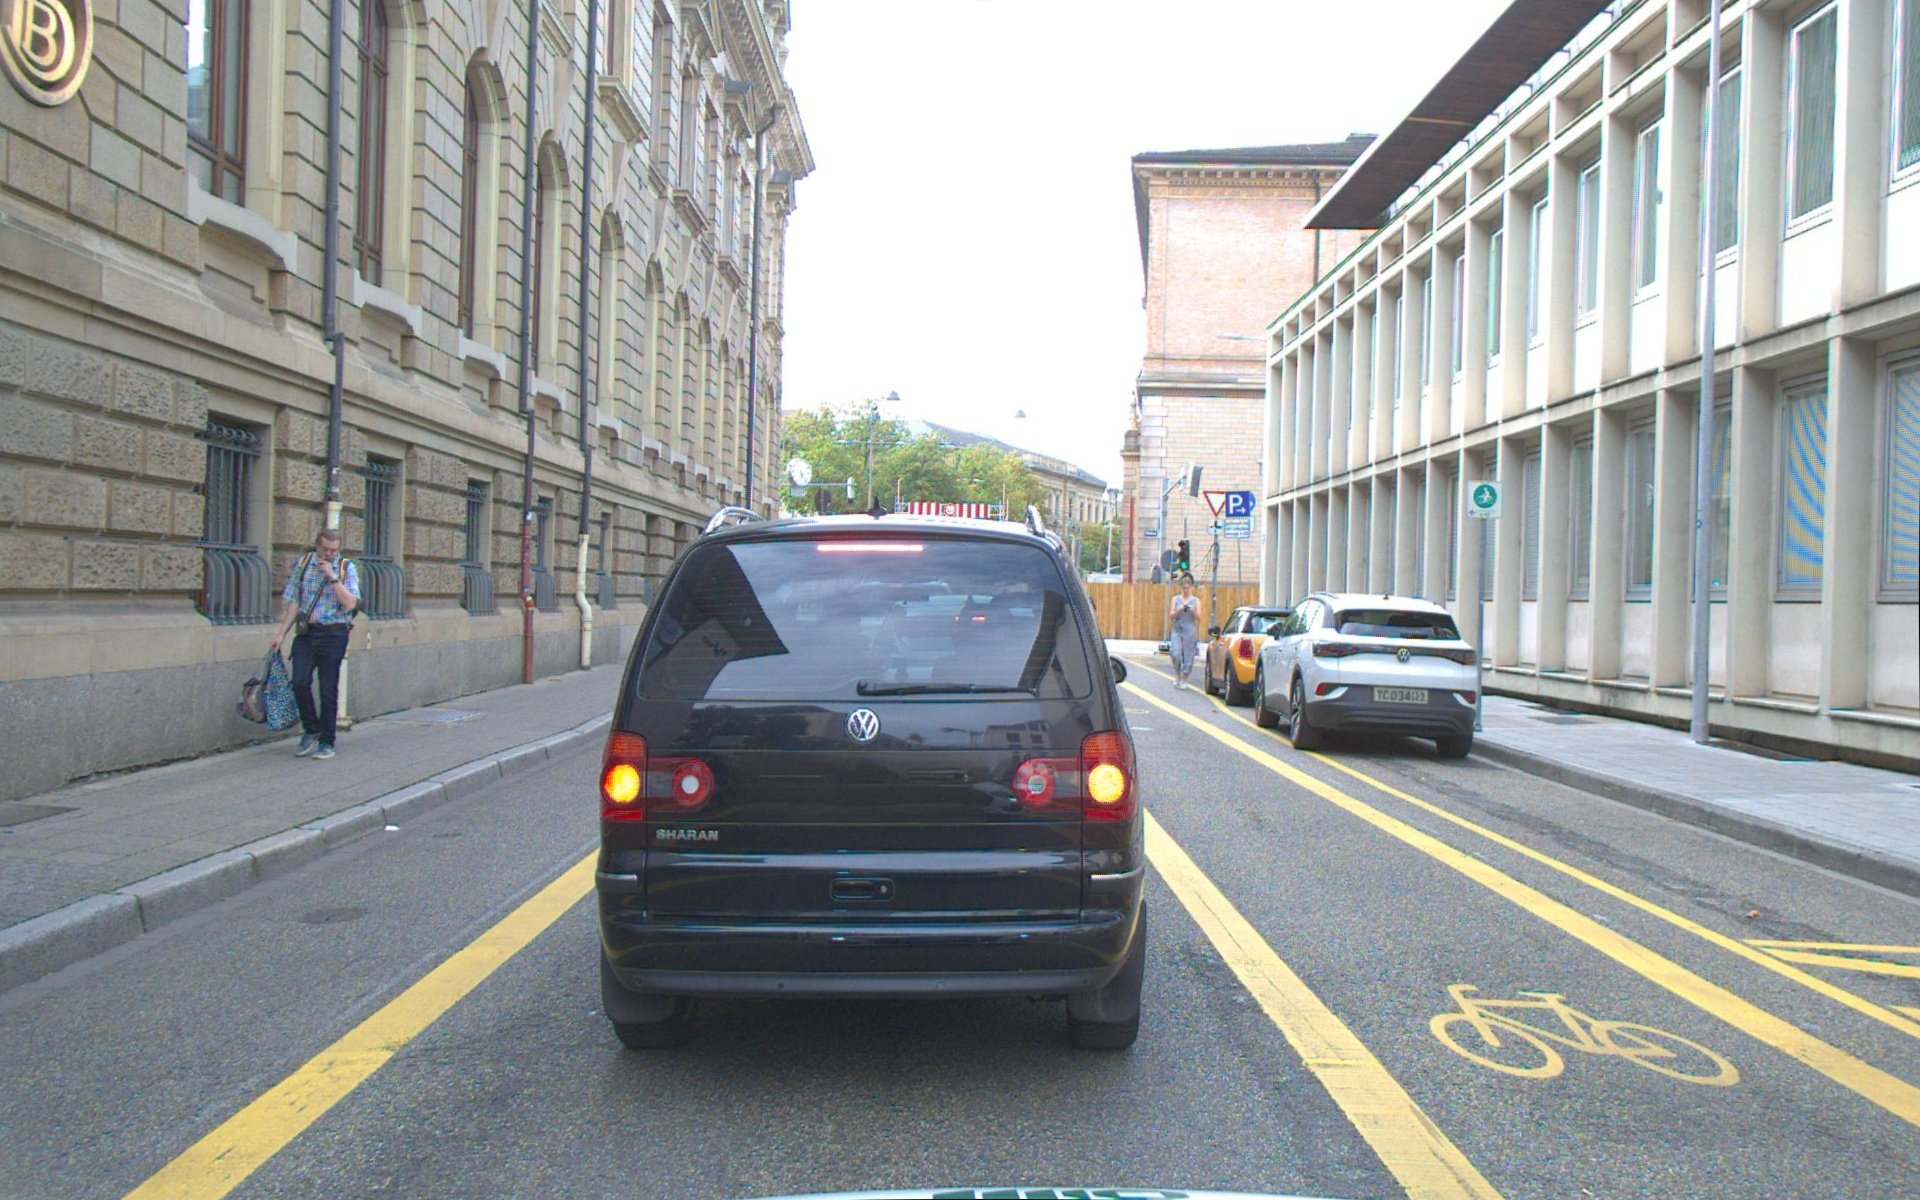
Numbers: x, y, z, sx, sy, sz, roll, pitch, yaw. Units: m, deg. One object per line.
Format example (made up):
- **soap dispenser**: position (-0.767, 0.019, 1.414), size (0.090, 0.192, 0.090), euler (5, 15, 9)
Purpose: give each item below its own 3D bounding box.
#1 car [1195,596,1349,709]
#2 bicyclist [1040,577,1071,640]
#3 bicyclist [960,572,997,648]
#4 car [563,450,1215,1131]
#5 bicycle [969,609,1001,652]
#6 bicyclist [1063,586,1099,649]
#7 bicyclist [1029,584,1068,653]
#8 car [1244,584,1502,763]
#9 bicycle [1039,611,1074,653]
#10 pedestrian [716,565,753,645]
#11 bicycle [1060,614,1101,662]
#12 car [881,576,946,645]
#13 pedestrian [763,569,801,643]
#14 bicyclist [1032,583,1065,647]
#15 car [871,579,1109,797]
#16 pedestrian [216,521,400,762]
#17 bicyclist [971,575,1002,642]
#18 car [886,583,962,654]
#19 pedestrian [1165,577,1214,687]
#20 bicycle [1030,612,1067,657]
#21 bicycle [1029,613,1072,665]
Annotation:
- **car**: position (4.666, 0.745, 25.208), size (1.645, 1.459, 3.887), euler (4, 0, 2)
- **bicyclist**: position (2.430, 0.211, 42.181), size (0.720, 1.582, 0.895), euler (1, -1, -1)
- **bicyclist**: position (0.370, 0.198, 33.578), size (0.720, 1.504, 0.884), euler (1, 0, -1)
- **car**: position (-0.126, 0.526, 6.609), size (1.752, 1.821, 4.104), euler (1, 0, 2)
- **bicycle**: position (0.617, 0.747, 40.976), size (0.720, 1.026, 2.068), euler (1, 0, -1)
- **bicyclist**: position (2.706, 0.387, 37.161), size (0.720, 1.399, 0.831), euler (1, 0, -1)
- **bicyclist**: position (1.827, 0.384, 34.206), size (0.720, 1.401, 0.828), euler (1, 0, -1)
- **car**: position (4.460, 0.729, 18.582), size (1.822, 1.633, 4.513), euler (4, 0, 2)
- **bicycle**: position (2.443, 0.792, 42.136), size (0.720, 1.026, 2.068), euler (1, 0, -1)
- **pedestrian**: position (-5.356, 0.124, 39.347), size (0.650, 1.851, 1.048), euler (3, -1, -1)
- **bicycle**: position (2.696, 0.833, 37.177), size (0.720, 1.026, 2.068), euler (1, 0, -1)
- **car**: position (-1.368, 0.292, 47.248), size (1.700, 1.821, 4.100), euler (2, 0, -4)
- **pedestrian**: position (-4.626, 0.152, 43.039), size (0.776, 1.851, 1.048), euler (3, -1, -1)
- **bicyclist**: position (2.111, 0.351, 39.398), size (0.720, 1.495, 0.808), euler (1, -1, -1)
- **car**: position (0.281, 0.628, 13.725), size (1.643, 1.495, 4.104), euler (1, 0, 2)
- **pedestrian**: position (-5.010, 0.312, 12.768), size (1.005, 1.750, 0.818), euler (3, -1, -1)
- **bicyclist**: position (0.648, 0.213, 40.910), size (0.720, 1.640, 0.695), euler (1, -1, -1)
- **car**: position (-0.868, 0.445, 40.251), size (1.737, 1.613, 3.999), euler (1, 0, -1)
- **pedestrian**: position (3.812, 0.523, 27.503), size (0.689, 1.794, 0.700), euler (1, -1, -1)
- **bicycle**: position (2.097, 0.798, 39.378), size (0.720, 1.026, 2.068), euler (1, 0, -1)
- **bicycle**: position (1.855, 0.784, 34.208), size (0.720, 1.026, 2.068), euler (1, 0, -1)
